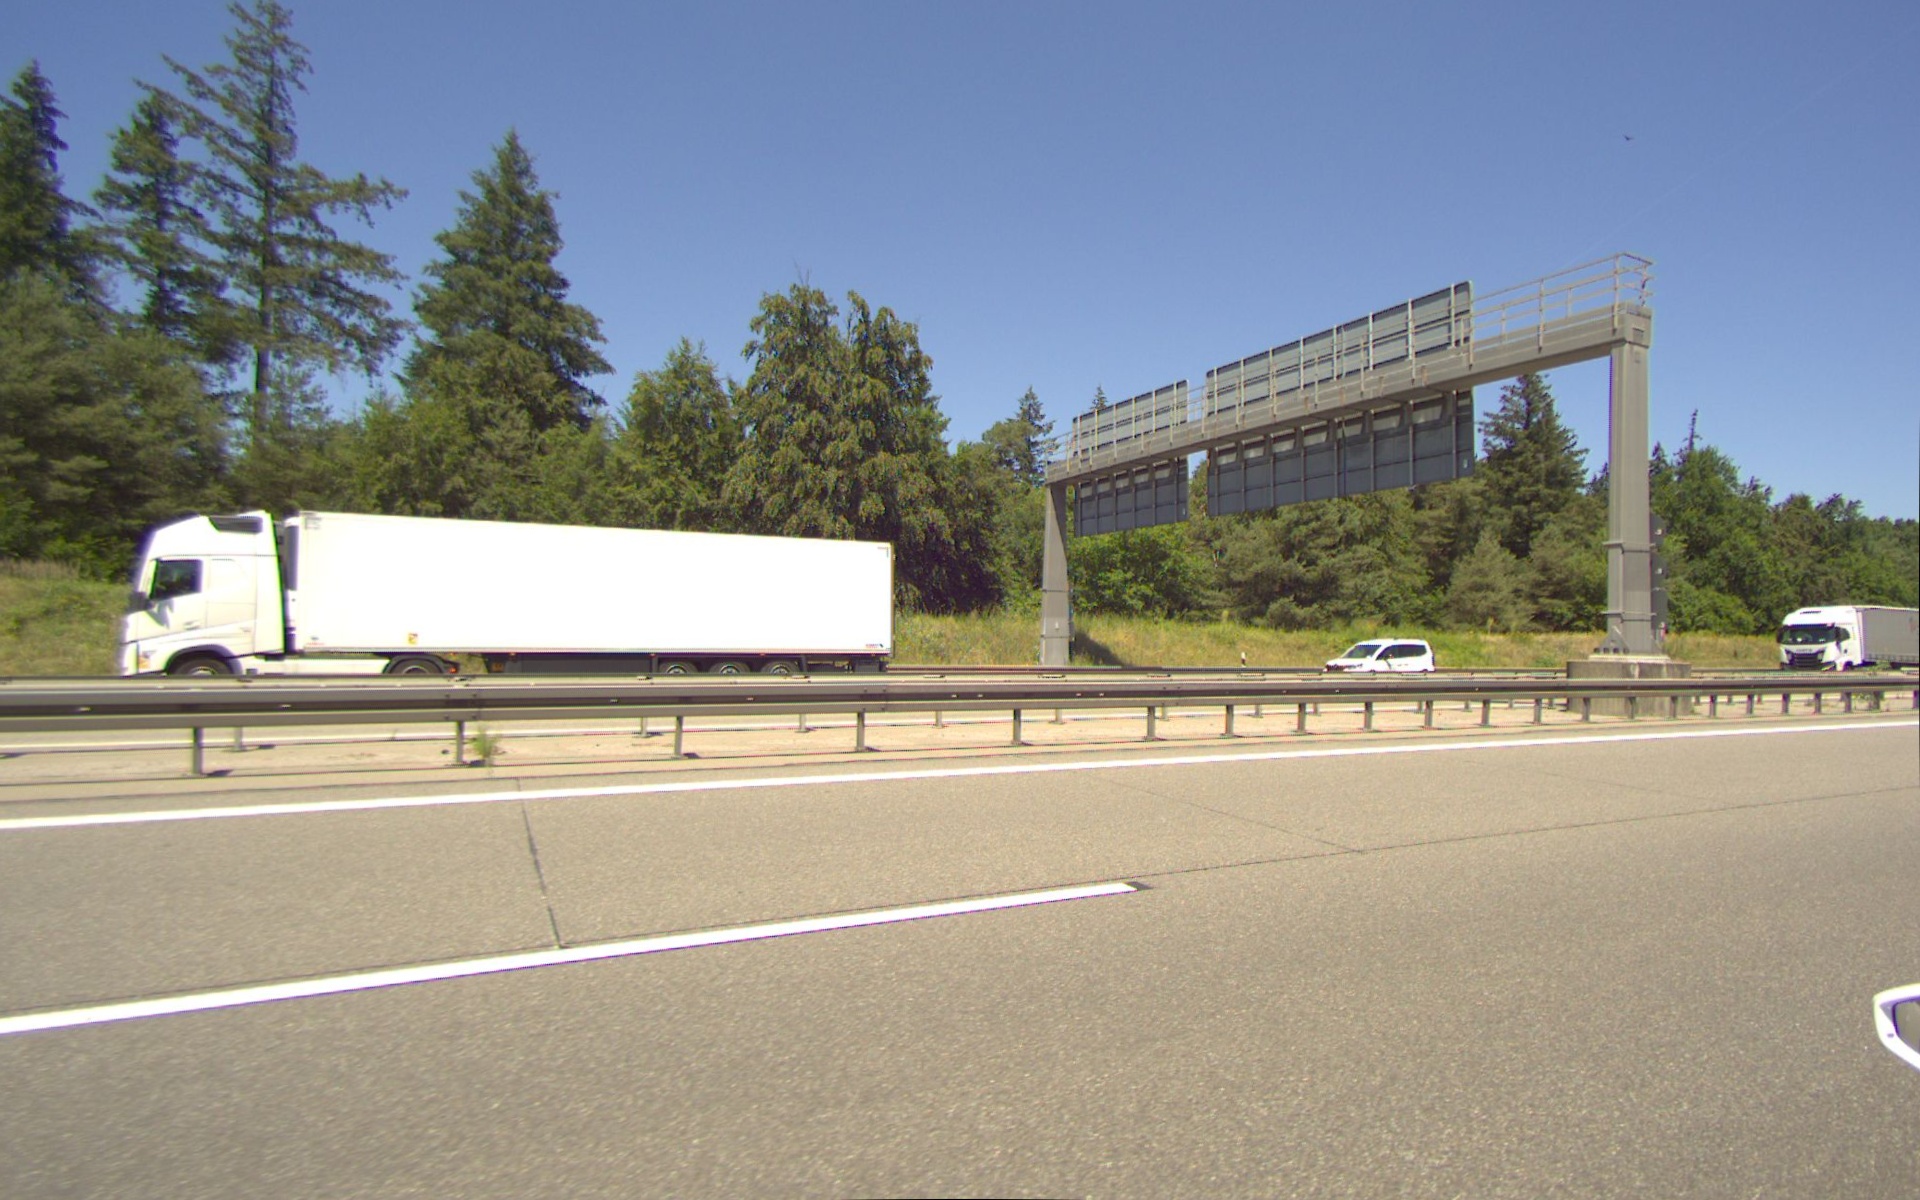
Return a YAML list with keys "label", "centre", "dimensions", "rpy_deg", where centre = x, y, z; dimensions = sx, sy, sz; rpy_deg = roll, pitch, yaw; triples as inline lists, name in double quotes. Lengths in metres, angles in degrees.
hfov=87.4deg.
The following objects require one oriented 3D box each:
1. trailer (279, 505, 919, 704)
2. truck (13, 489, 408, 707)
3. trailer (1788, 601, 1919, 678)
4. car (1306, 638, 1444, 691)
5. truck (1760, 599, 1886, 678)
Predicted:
- label: "trailer"
  centre: [-8.179, 0.328, 25.113]
  dimensions: [14.168, 4.096, 3.204]
  rpy_deg: [2, -1, -26]
- label: "truck"
  centre: [-15.546, 0.064, 21.576]
  dimensions: [6.132, 4.071, 3.205]
  rpy_deg: [2, -1, -25]
- label: "trailer"
  centre: [52.016, 2.259, 56.283]
  dimensions: [13.775, 3.983, 3.159]
  rpy_deg: [2, -1, -25]
- label: "car"
  centre: [15.301, 2.351, 36.983]
  dimensions: [4.927, 1.773, 1.986]
  rpy_deg: [2, -1, -28]
- label: "truck"
  centre: [45.767, 2.036, 53.287]
  dimensions: [5.327, 3.983, 3.159]
  rpy_deg: [2, -1, -25]
